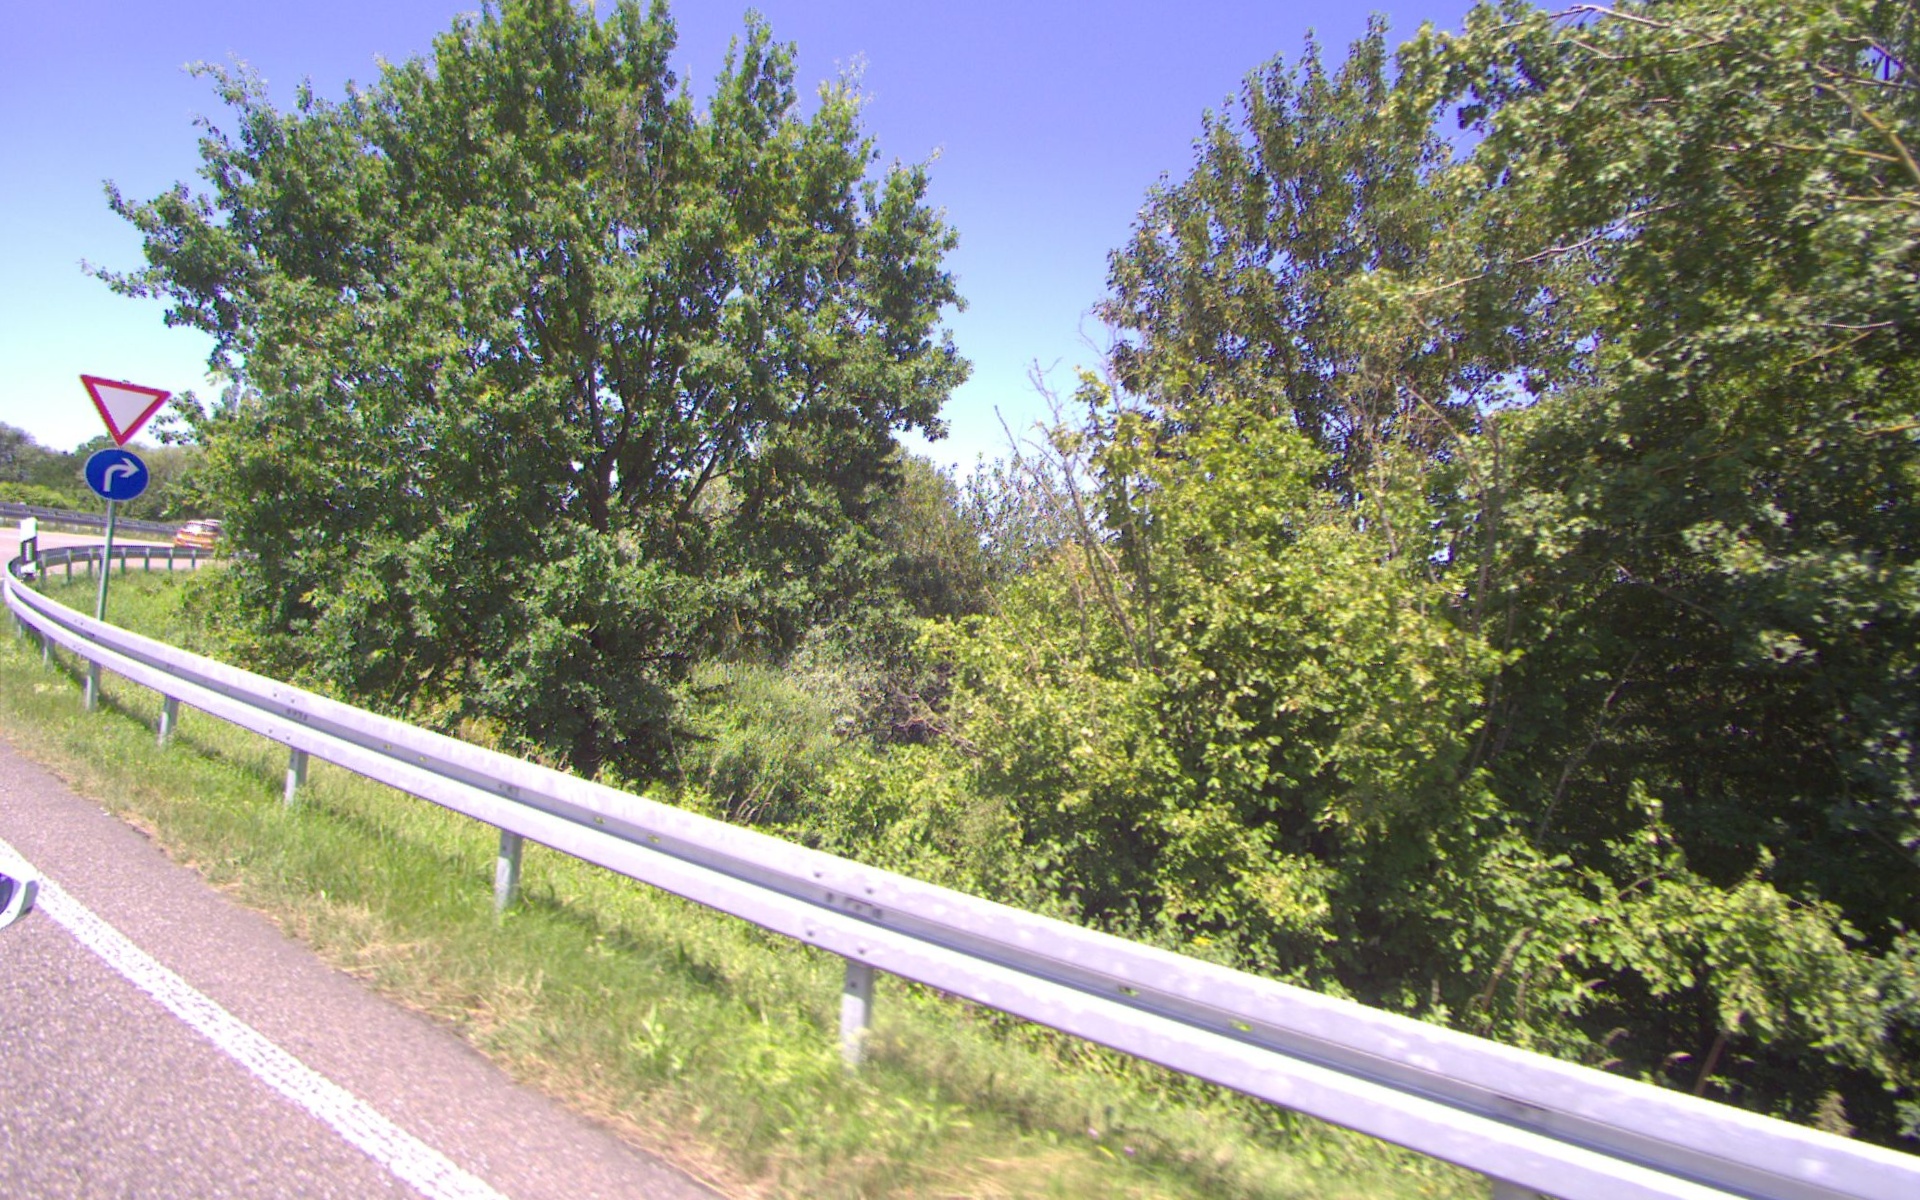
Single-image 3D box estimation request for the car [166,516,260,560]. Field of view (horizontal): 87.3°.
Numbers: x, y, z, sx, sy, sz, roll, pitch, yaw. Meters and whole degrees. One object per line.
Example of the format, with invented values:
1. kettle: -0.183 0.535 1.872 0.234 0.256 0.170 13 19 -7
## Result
1. car: -33.577 -2.747 45.352 1.819 1.481 3.991 9 -2 -13
